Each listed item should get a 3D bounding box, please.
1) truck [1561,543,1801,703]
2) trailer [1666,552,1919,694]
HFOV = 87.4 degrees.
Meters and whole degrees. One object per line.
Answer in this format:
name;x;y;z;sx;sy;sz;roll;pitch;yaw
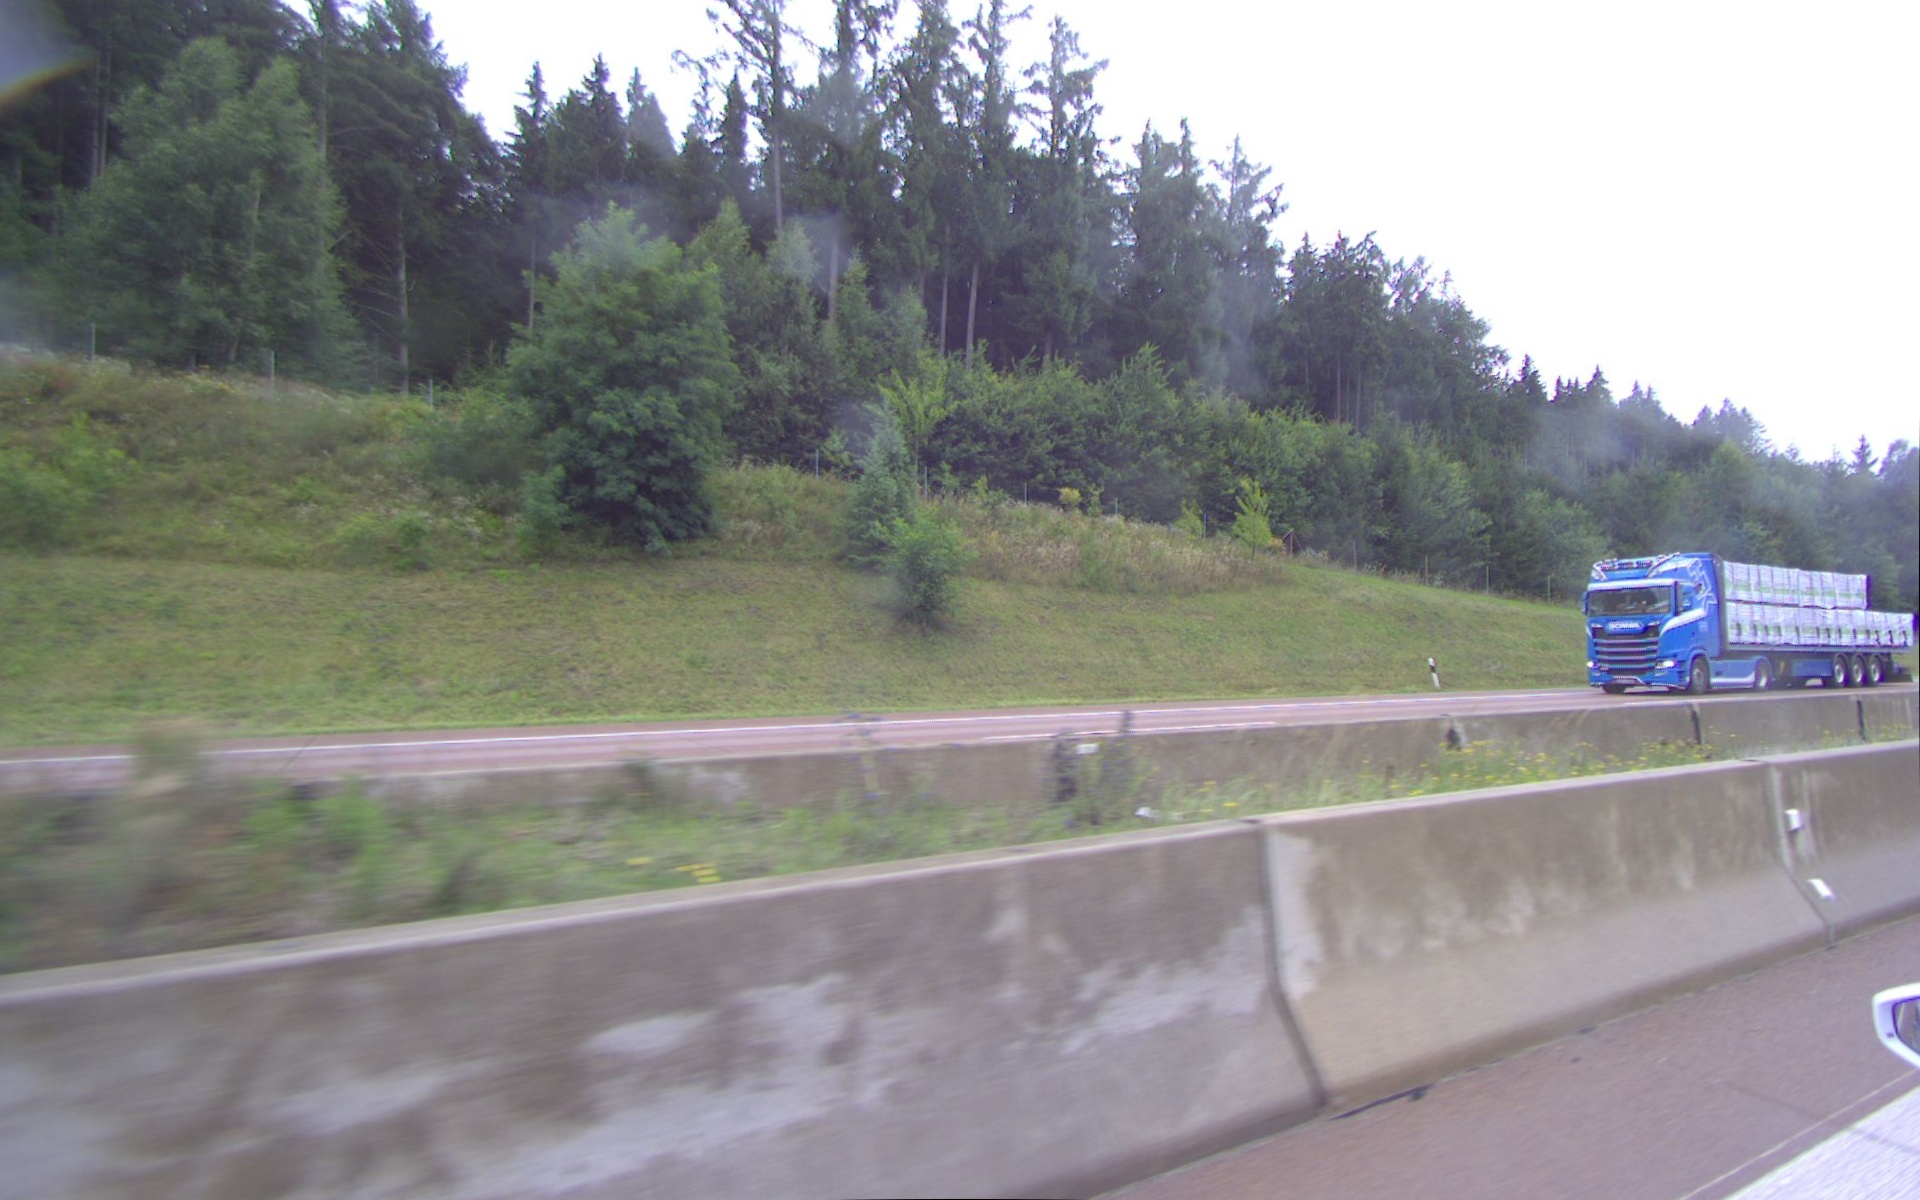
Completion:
truck;22.022;0.751;30.599;7.559;4.376;2.951;0;-4;-31
trailer;29.655;0.866;35.145;12.794;4.331;2.920;1;-4;-31
